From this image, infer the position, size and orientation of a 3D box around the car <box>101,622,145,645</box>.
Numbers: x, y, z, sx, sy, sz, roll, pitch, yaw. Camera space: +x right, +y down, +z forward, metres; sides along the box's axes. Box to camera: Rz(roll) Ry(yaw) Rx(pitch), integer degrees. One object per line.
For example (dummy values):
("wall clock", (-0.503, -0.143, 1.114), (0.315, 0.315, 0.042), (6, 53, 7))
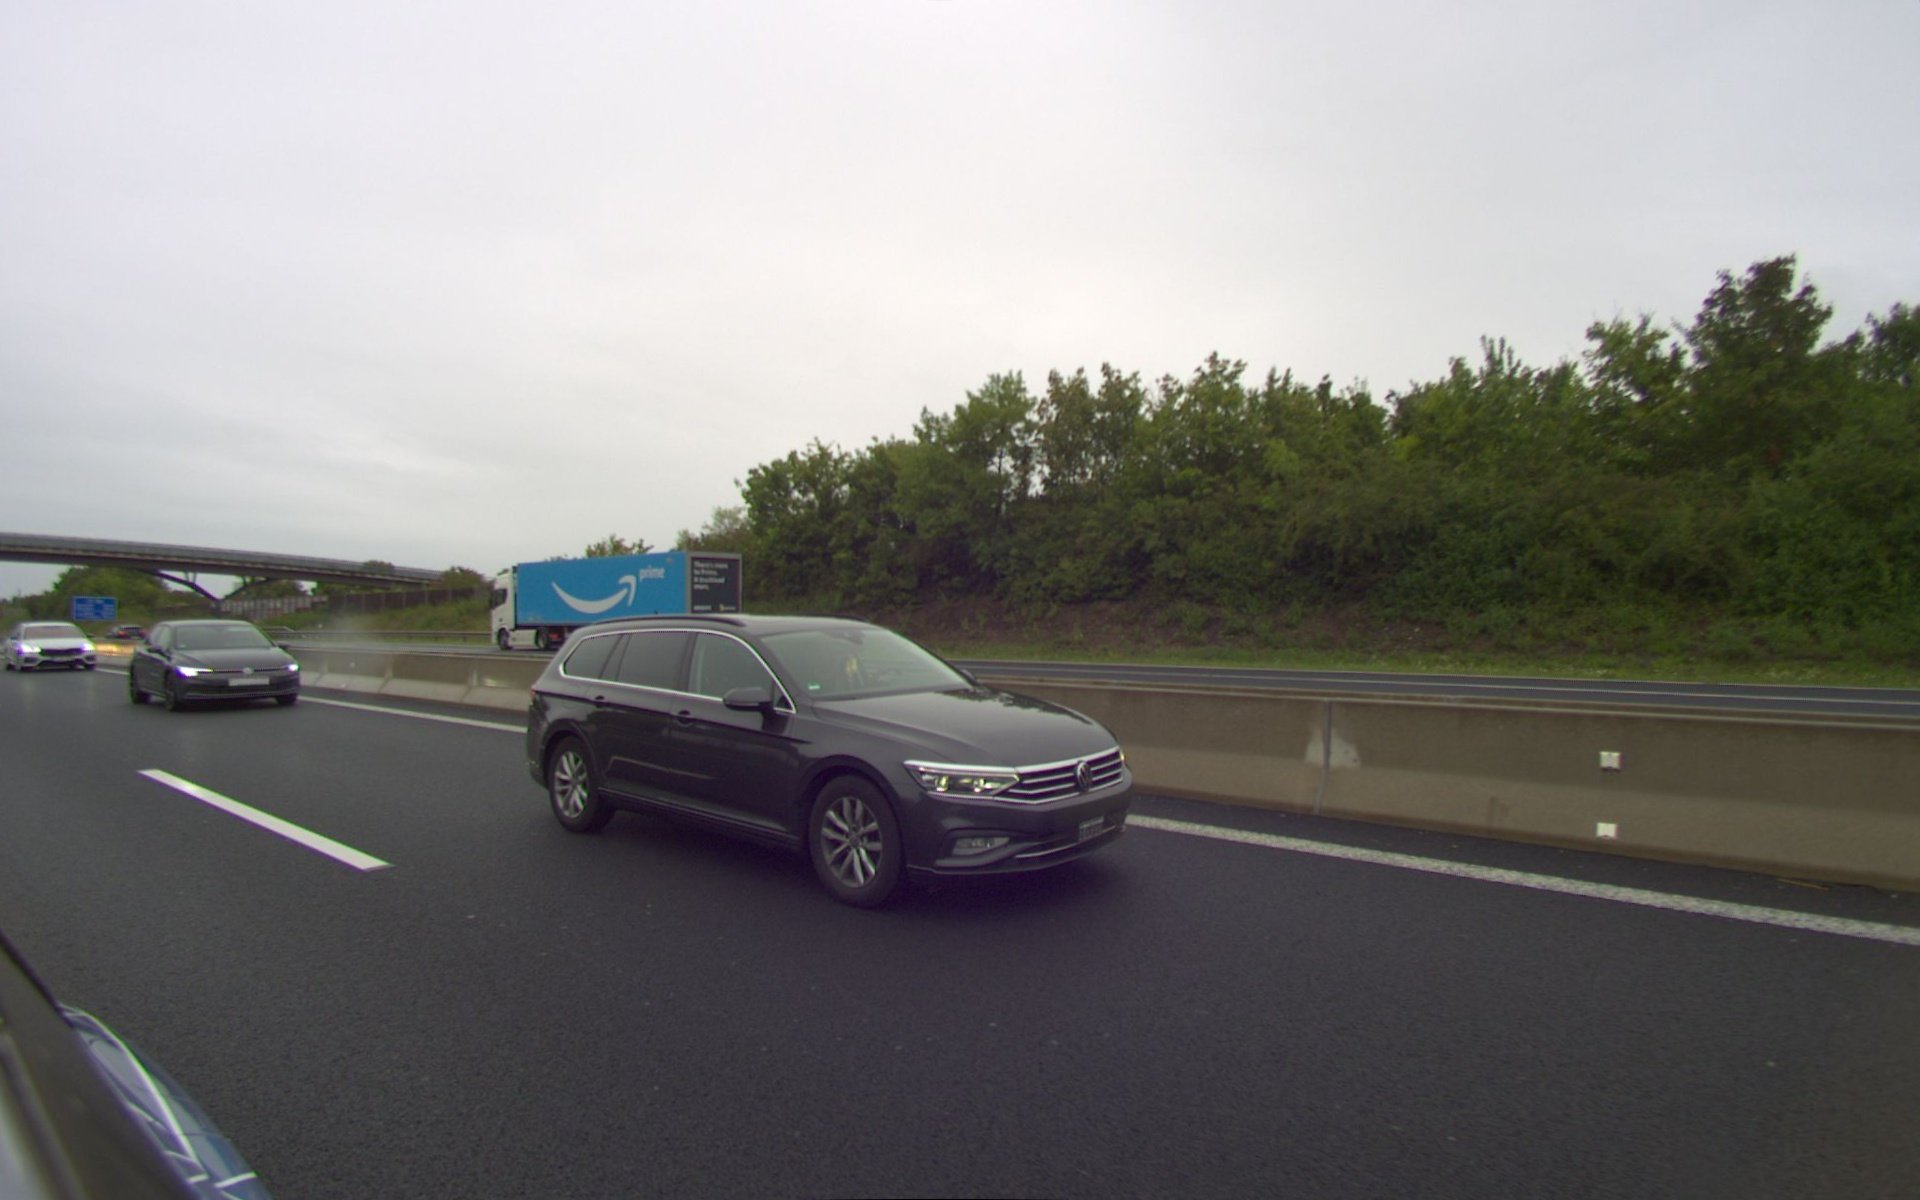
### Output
("car", (-59.394, 2.382, 71.786), (4.502, 1.583, 1.954), (-2, -2, 44))

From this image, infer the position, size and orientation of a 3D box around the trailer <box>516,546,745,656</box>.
("trailer", (-14.533, 0.180, 43.414), (13.517, 4.114, 2.761), (-1, -1, 41))

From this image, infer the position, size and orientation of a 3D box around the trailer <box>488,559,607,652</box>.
("trailer", (-19.499, 0.298, 47.706), (6.038, 4.114, 2.761), (-1, -2, 41))

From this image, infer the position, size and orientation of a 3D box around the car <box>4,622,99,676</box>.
("car", (-27.760, 1.429, 30.873), (4.115, 1.518, 1.879), (-1, -1, 44))

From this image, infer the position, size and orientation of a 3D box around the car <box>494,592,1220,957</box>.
("car", (-0.990, 0.771, 6.521), (4.849, 1.508, 1.880), (-1, -1, 41))

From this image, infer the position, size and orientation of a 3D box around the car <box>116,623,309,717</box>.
("car", (-13.082, 1.121, 17.605), (4.458, 1.416, 1.880), (-1, -1, 42))
